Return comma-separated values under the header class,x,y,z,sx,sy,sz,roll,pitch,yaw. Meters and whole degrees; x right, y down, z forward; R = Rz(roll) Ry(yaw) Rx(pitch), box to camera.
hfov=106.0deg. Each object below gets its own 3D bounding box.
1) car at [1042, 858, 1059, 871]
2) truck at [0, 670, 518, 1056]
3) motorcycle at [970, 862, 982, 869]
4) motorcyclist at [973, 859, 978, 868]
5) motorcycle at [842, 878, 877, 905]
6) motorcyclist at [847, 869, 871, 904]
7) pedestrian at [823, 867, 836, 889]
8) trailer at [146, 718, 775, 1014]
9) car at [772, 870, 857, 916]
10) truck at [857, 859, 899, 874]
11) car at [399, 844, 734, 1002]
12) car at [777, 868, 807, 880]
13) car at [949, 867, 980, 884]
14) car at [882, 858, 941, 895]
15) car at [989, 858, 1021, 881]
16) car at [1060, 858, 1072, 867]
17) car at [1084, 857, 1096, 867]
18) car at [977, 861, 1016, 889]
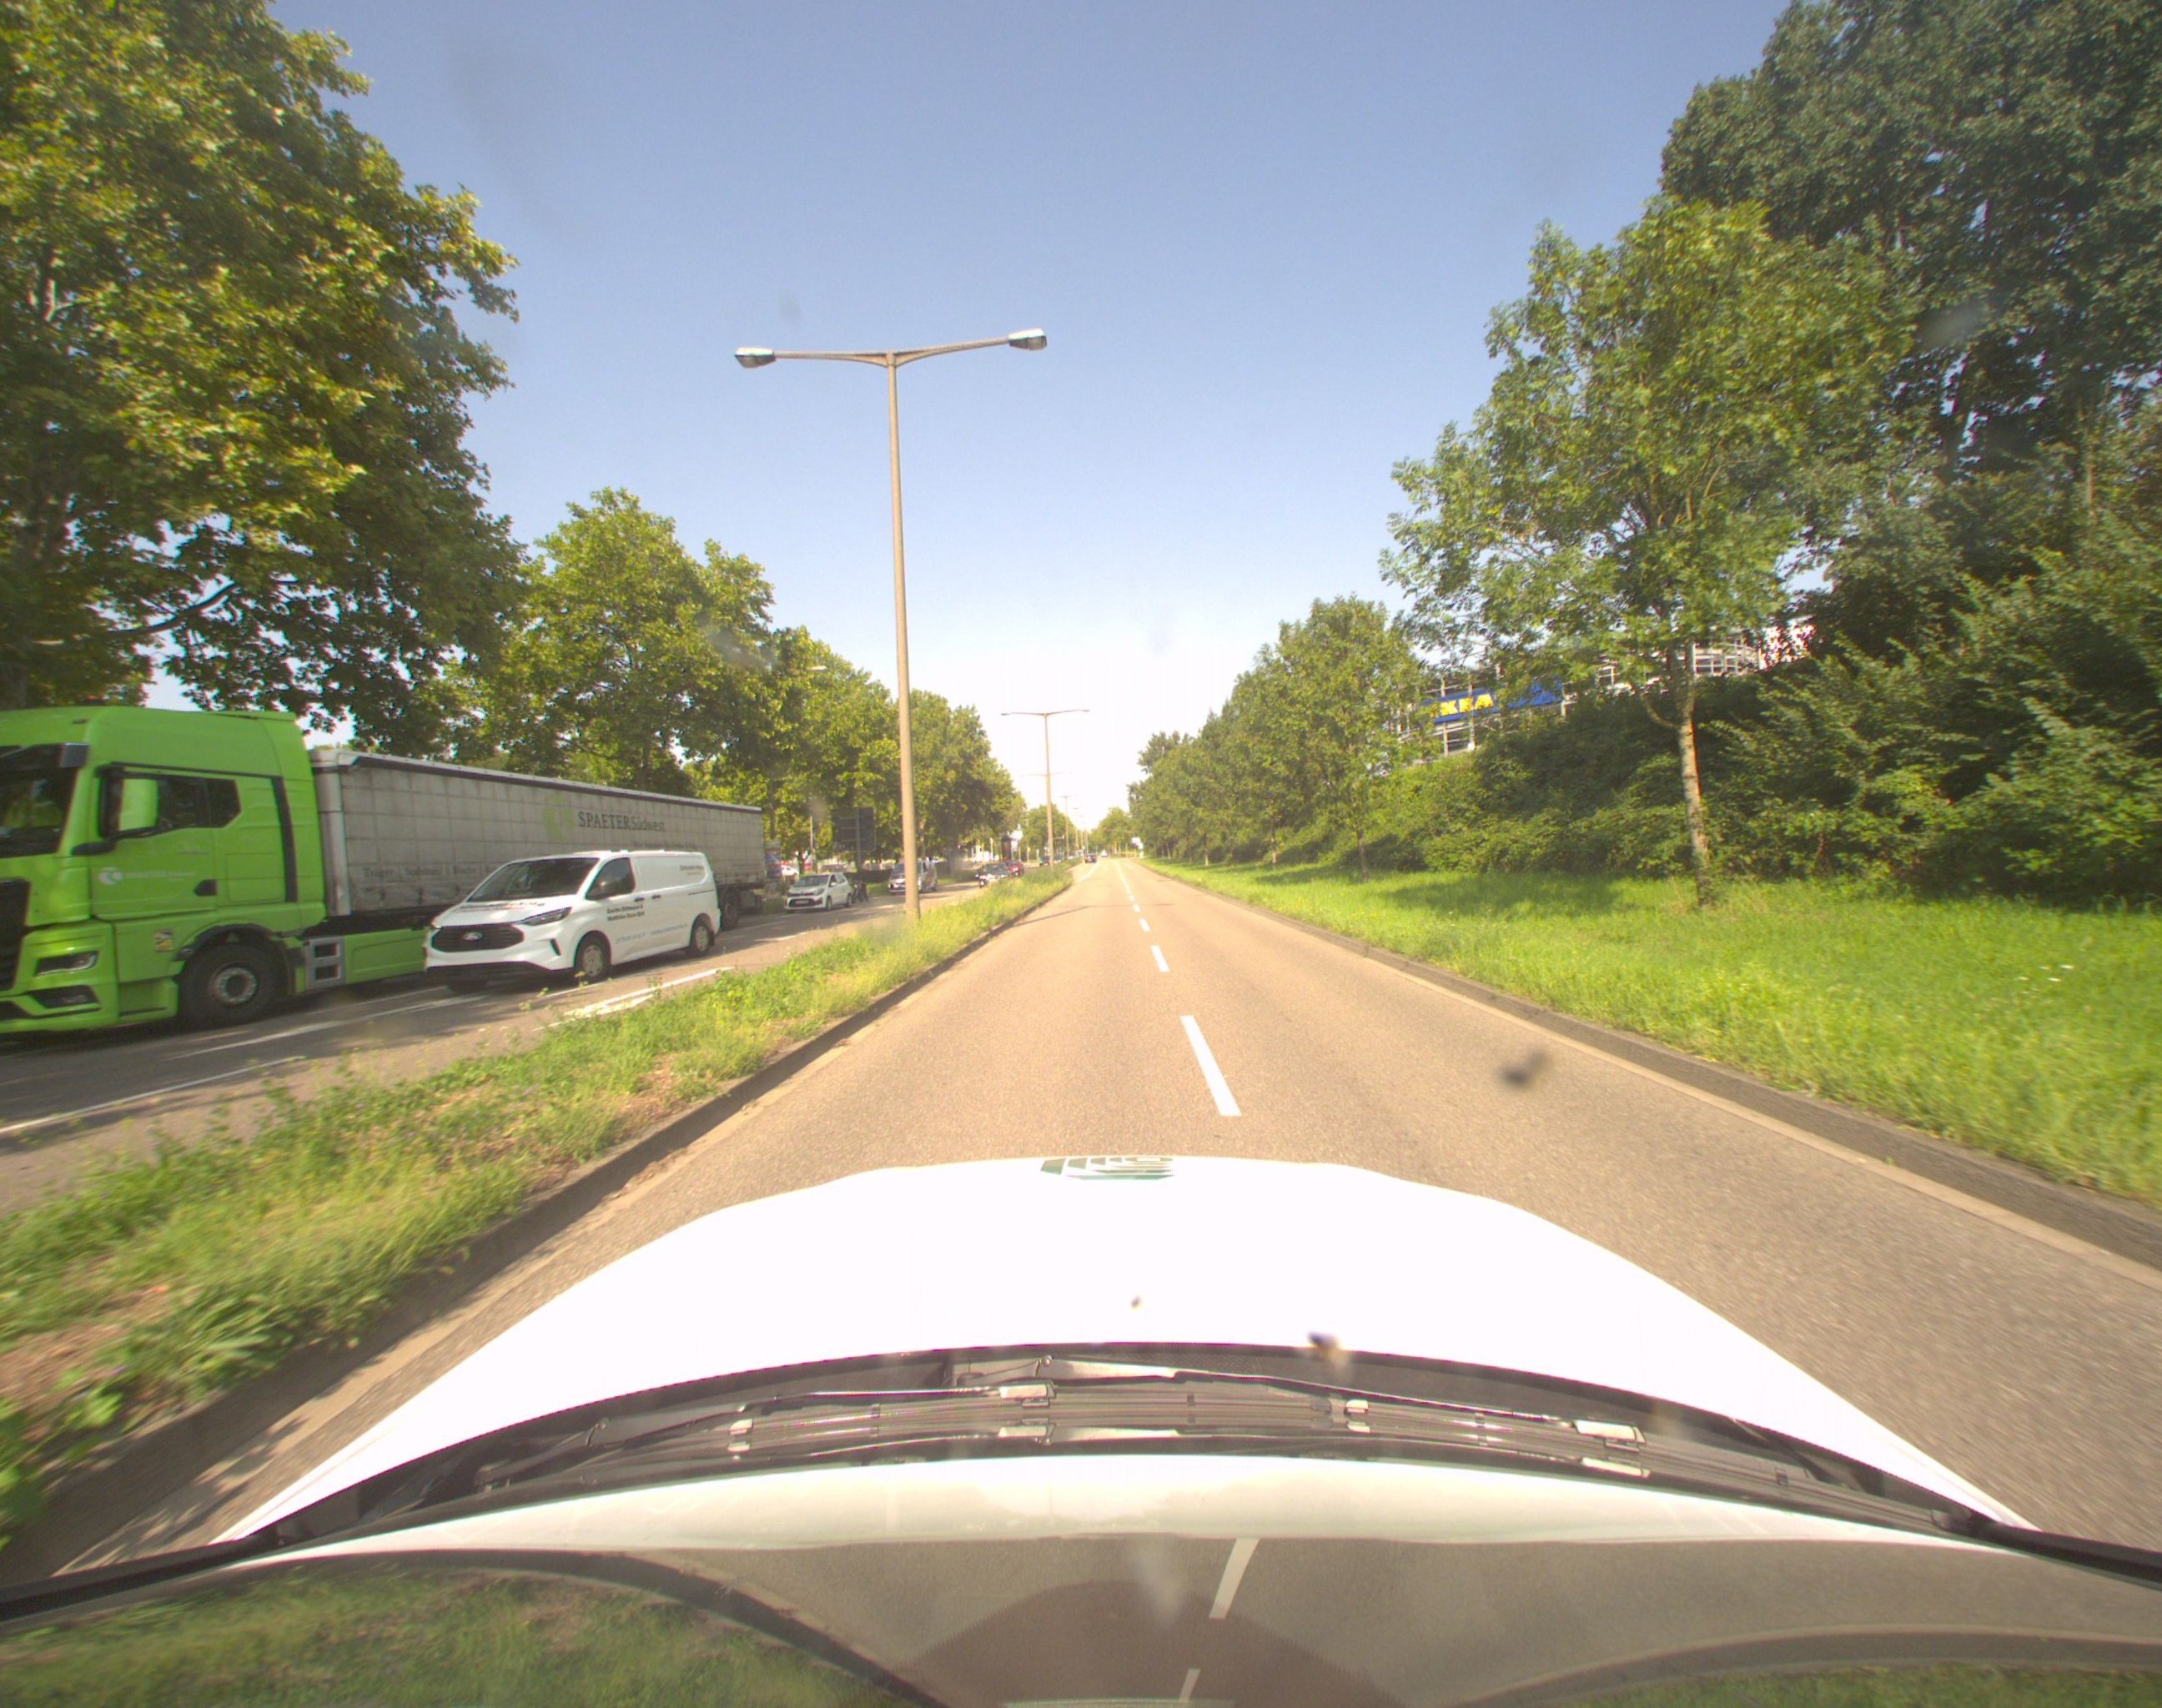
class,x,y,z,sx,sy,sz,roll,pitch,yaw
car,-4.317,1.420,114.312,1.986,1.759,4.479,-2,0,2
truck,-11.247,0.171,11.137,2.598,3.819,5.894,-4,-1,2
motorcycle,-18.540,2.097,144.026,2.084,1.136,0.670,-2,-1,-34
motorcyclist,-18.687,1.653,143.950,0.686,1.572,0.676,-1,-1,-34
motorcycle,-10.173,1.699,37.501,0.791,1.107,2.469,-2,-1,3
motorcyclist,-10.187,1.469,37.435,0.774,1.554,0.923,-2,-1,3
pedestrian,-19.147,1.823,61.945,0.614,1.653,0.934,-2,-1,2
trailer,-11.004,0.210,17.924,2.623,3.821,13.818,-4,-1,2
car,-10.246,1.459,31.604,1.739,1.479,3.834,-4,-1,3
truck,-48.658,3.080,195.685,9.051,2.958,3.477,-3,0,-34
car,-7.782,0.917,13.128,1.986,1.953,5.038,-3,-1,2
car,-45.283,3.191,127.748,4.019,1.679,1.849,-2,-1,-38
car,-9.875,1.814,69.311,1.783,1.263,4.099,-4,-1,4
car,-9.641,1.265,46.741,1.977,1.858,4.972,-5,-1,2
car,-6.198,1.278,67.090,1.946,1.724,4.589,-3,-1,2
car,-2.580,1.492,144.038,1.872,1.594,4.109,-1,-1,2
car,1.522,1.330,137.734,1.684,1.486,4.006,-2,0,5
car,-5.120,1.240,49.733,1.740,1.479,4.586,-4,-1,0
